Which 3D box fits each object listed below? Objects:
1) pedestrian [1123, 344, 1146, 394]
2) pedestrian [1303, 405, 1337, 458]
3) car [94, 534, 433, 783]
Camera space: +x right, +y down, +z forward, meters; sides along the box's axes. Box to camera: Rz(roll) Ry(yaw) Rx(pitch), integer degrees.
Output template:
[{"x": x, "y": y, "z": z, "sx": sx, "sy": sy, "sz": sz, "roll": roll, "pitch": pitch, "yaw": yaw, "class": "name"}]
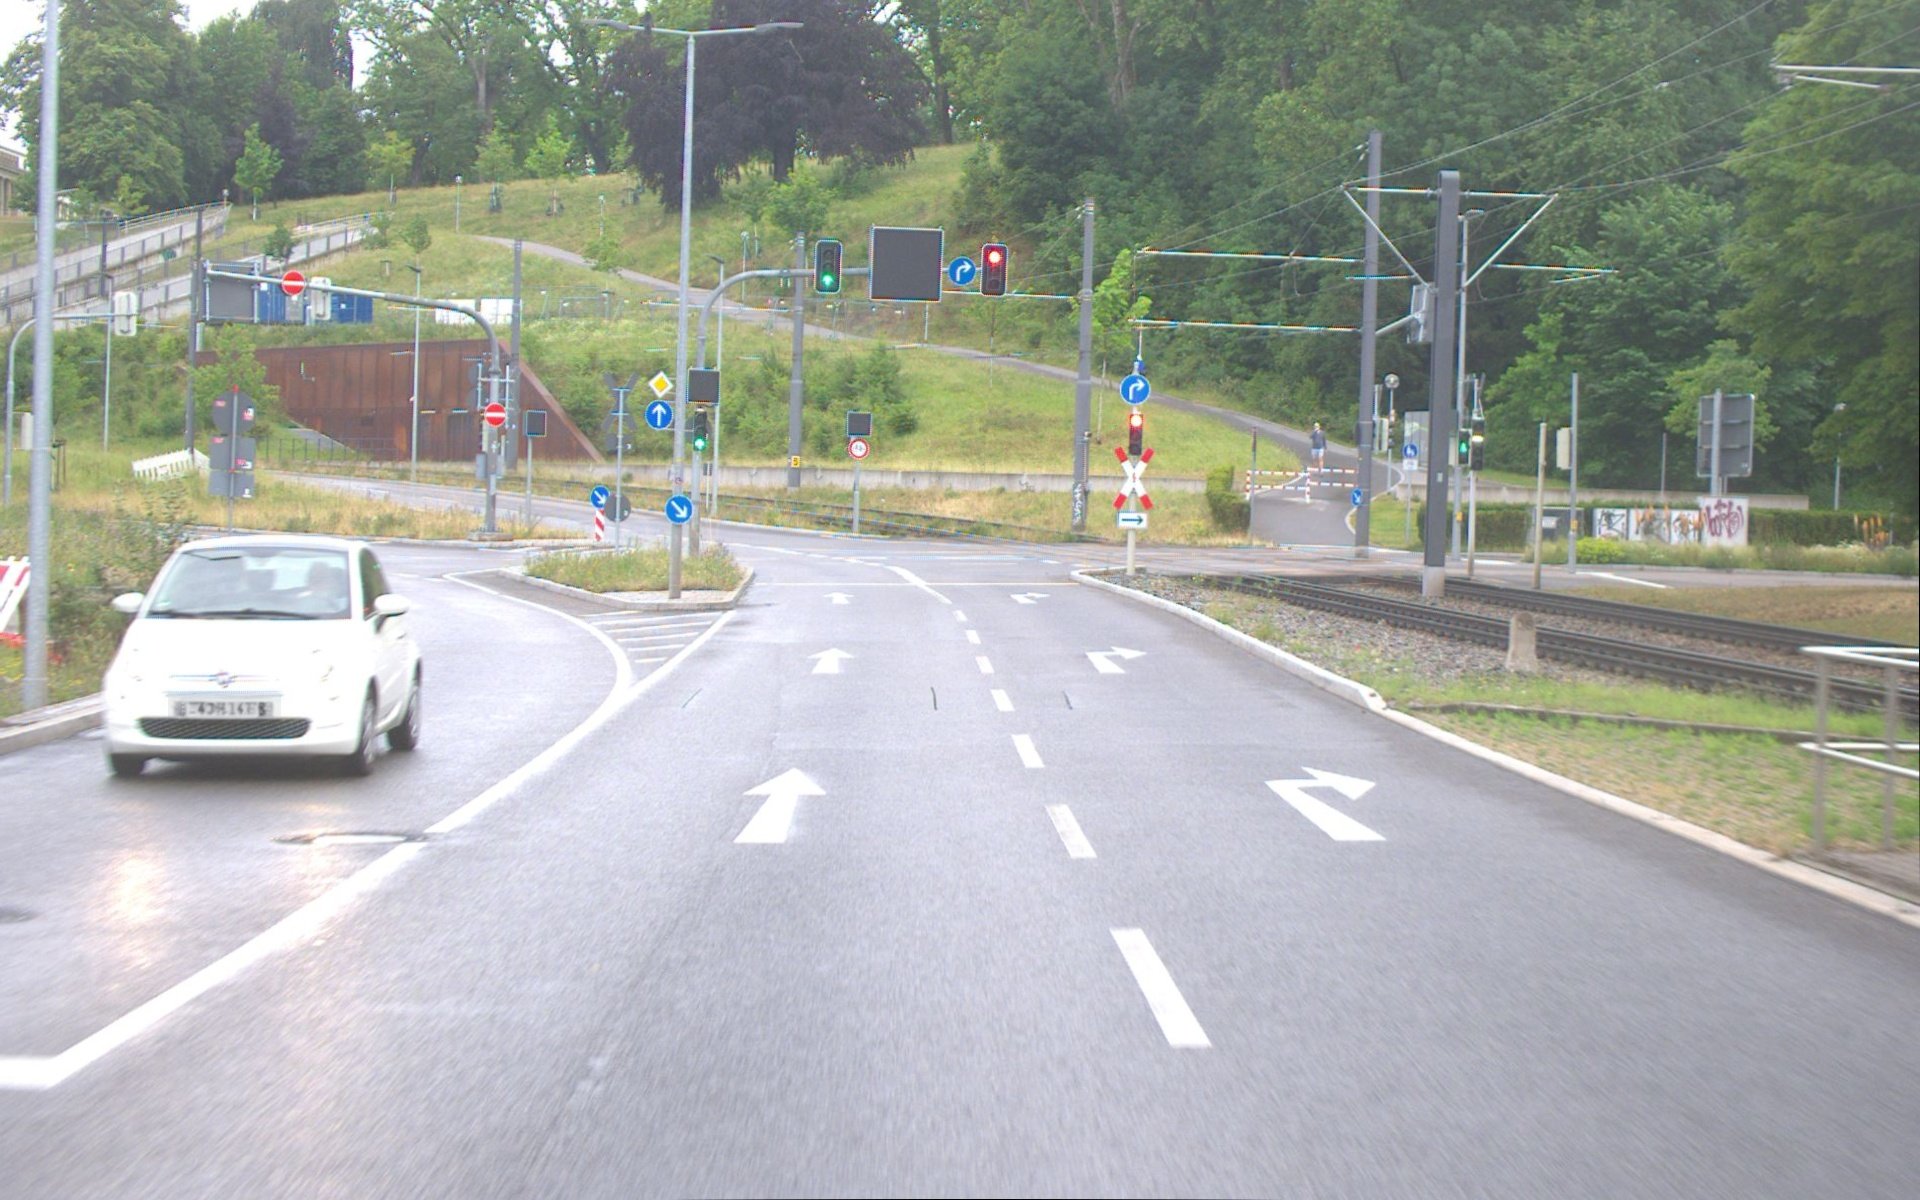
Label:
[{"x": 7.269, "y": -9.630, "z": 143.486, "sx": 0.788, "sy": 2.006, "sz": 0.657, "roll": -3, "pitch": 8, "yaw": -16, "class": "pedestrian"}, {"x": 12.417, "y": -5.796, "z": 118.511, "sx": 0.958, "sy": 1.775, "sz": 1.122, "roll": 4, "pitch": 3, "yaw": 10, "class": "pedestrian"}, {"x": -4.454, "y": 0.318, "z": 22.438, "sx": 1.587, "sy": 1.486, "sz": 3.715, "roll": 0, "pitch": 1, "yaw": -2, "class": "car"}]
